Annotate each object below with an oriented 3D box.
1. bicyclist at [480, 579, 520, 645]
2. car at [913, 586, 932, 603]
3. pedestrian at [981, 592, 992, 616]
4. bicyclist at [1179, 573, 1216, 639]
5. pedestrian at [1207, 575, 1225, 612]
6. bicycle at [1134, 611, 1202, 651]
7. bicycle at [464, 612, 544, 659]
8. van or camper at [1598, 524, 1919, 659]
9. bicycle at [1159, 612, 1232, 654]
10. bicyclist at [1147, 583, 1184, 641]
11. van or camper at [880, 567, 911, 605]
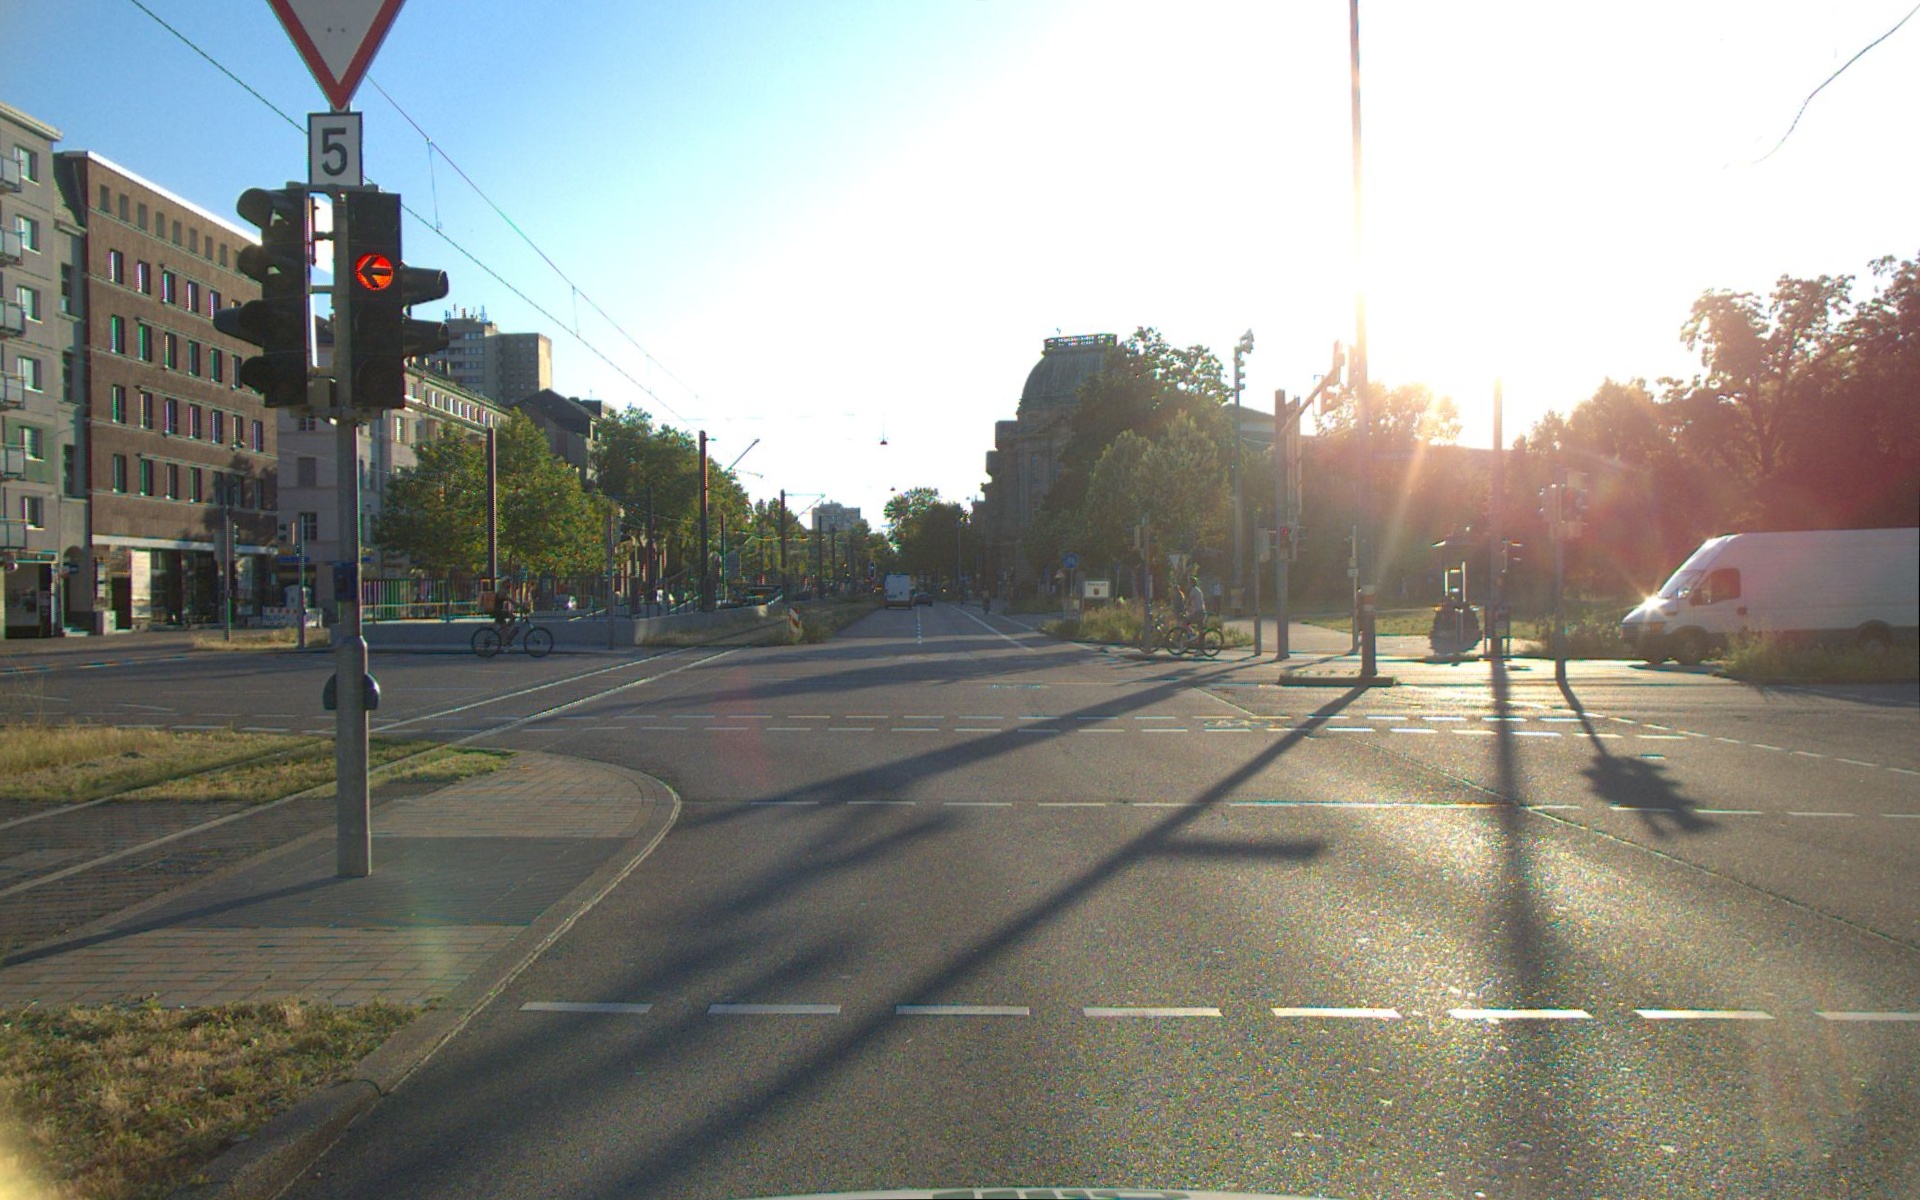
[{"bbox_3d":[-10.406,0.266,37.414,0.840,1.467,0.660,1,1,-19],"label":"bicyclist"},{"bbox_3d":[-3.410,-0.540,151.209,1.702,1.410,4.000,-1,2,-1],"label":"car"},{"bbox_3d":[1.658,0.238,103.437,0.603,1.501,0.800,-1,1,3],"label":"pedestrian"},{"bbox_3d":[5.880,0.138,40.931,0.781,1.598,0.663,-1,1,20],"label":"bicyclist"},{"bbox_3d":[11.730,-0.294,75.761,0.668,1.639,0.612,-1,1,-1],"label":"pedestrian"},{"bbox_3d":[5.397,0.805,42.888,1.684,0.987,0.609,0,1,-2],"label":"bicycle"},{"bbox_3d":[-10.326,0.806,37.438,1.702,0.987,0.700,1,2,-19],"label":"bicycle"},{"bbox_3d":[17.836,-0.220,35.994,6.898,2.721,2.599,-1,1,1],"label":"van or camper"},{"bbox_3d":[5.828,0.812,40.973,1.692,0.987,0.609,0,2,20],"label":"bicycle"},{"bbox_3d":[5.324,0.304,42.876,0.836,1.467,0.663,-1,1,-3],"label":"bicyclist"},{"bbox_3d":[-4.843,-1.079,124.582,2.217,2.670,4.503,-1,2,-1],"label":"van or camper"}]
